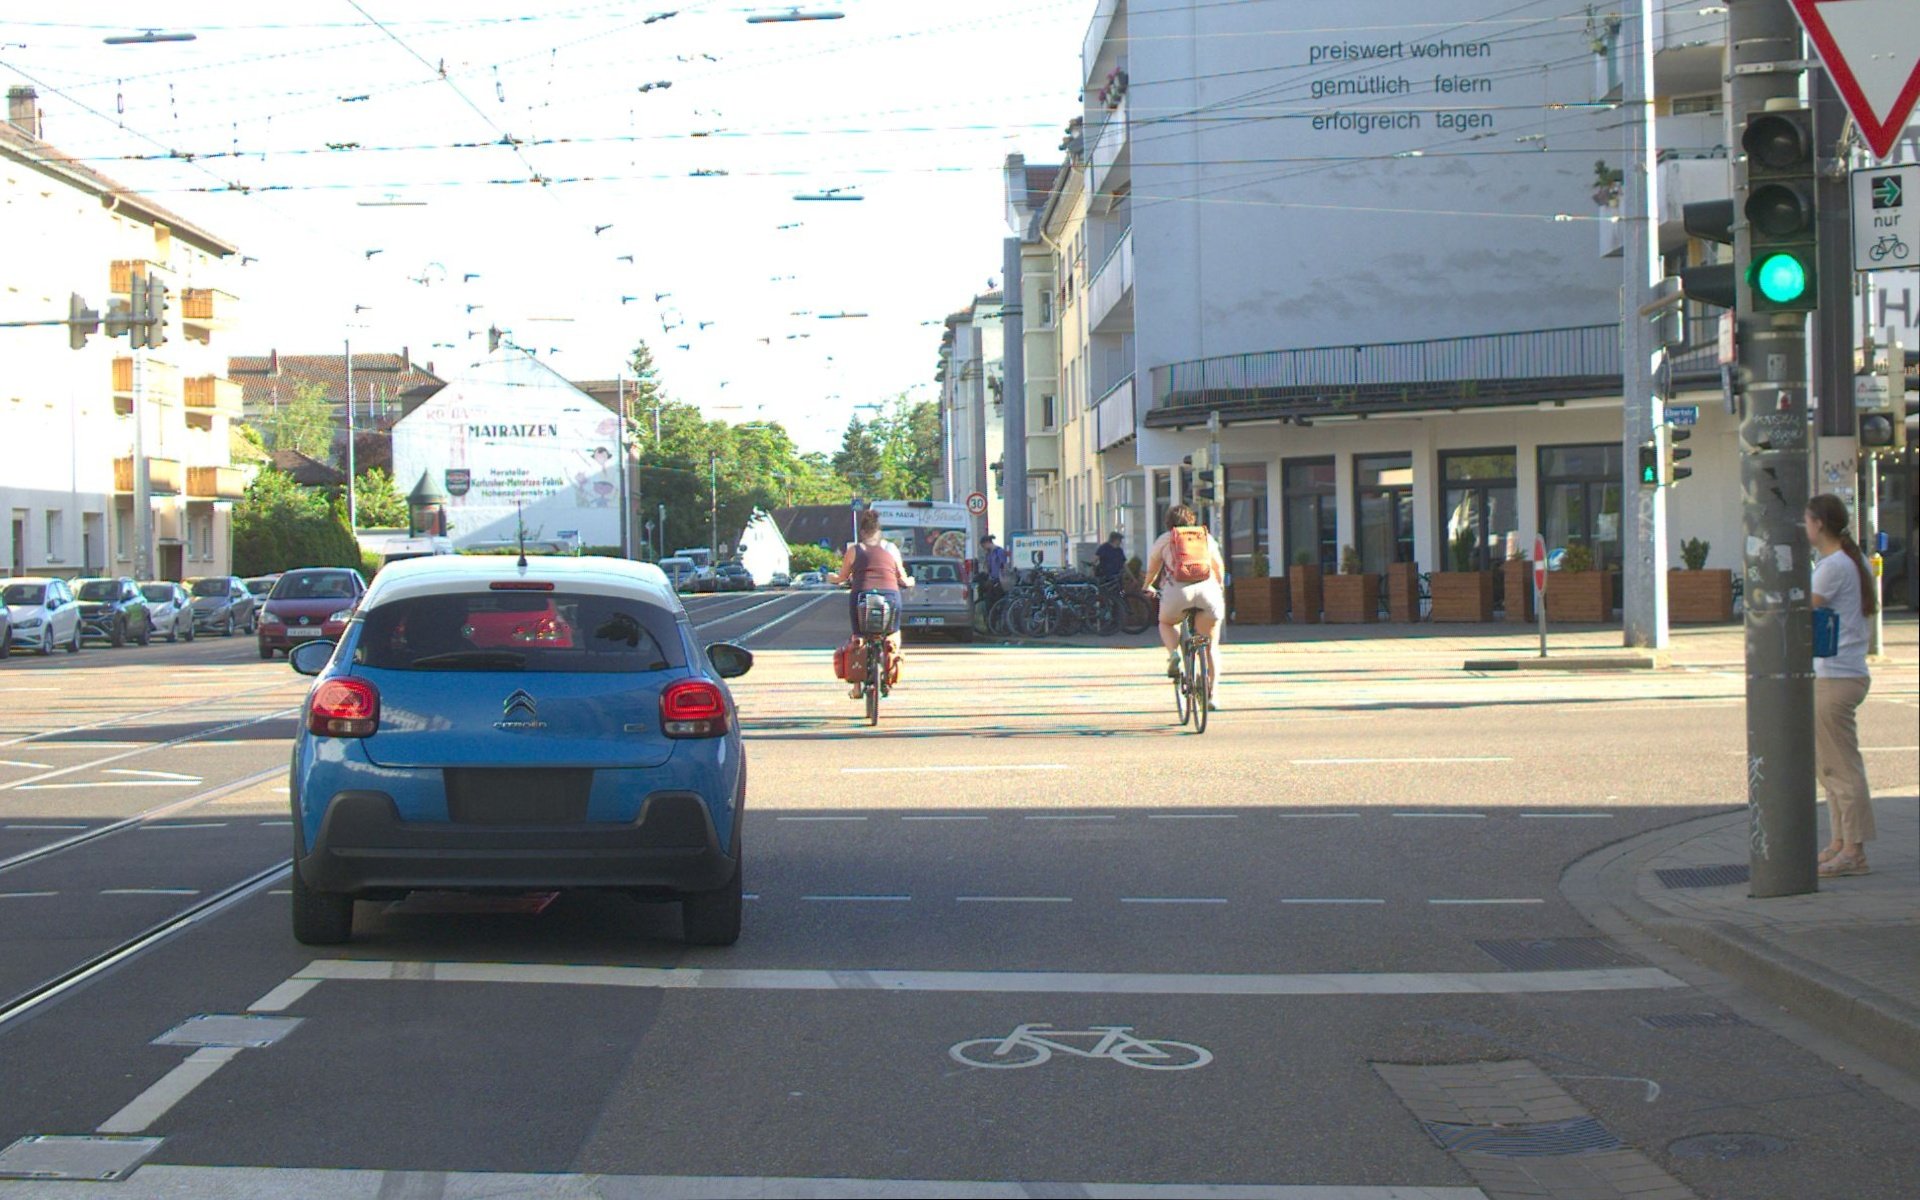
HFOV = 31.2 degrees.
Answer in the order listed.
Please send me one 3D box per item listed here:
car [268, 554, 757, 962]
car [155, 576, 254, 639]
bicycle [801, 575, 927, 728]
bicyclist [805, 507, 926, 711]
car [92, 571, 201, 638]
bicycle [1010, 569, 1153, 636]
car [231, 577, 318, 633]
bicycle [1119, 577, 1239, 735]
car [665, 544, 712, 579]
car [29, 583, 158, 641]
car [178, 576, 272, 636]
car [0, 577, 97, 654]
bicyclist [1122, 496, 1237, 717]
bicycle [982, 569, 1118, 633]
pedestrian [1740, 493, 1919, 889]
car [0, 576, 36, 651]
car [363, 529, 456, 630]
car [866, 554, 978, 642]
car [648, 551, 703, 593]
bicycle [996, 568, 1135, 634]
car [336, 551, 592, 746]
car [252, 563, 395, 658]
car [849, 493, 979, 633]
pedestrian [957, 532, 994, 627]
[{"bbox_3d":[-1.850,0.547,14.133,1.736,1.447,3.663,0,0,-8],"label":"car"},{"bbox_3d":[-19.719,0.185,89.861,1.869,1.571,4.000,1,0,-3],"label":"car"},{"bbox_3d":[-0.784,0.414,28.891,0.940,1.219,2.094,1,0,1],"label":"bicycle"},{"bbox_3d":[-0.782,0.068,28.931,0.940,1.667,1.079,1,0,1],"label":"bicyclist"},{"bbox_3d":[-19.800,0.098,83.798,1.869,1.571,4.000,1,0,-3],"label":"car"},{"bbox_3d":[1.987,0.035,56.437,2.251,0.998,0.856,-2,0,-2],"label":"bicycle"},{"bbox_3d":[-19.815,0.130,99.485,1.869,1.571,4.000,1,0,-3],"label":"car"},{"bbox_3d":[1.741,0.417,27.024,0.811,1.177,2.063,1,0,7],"label":"bicycle"},{"bbox_3d":[-14.119,-1.970,179.111,2.074,1.756,5.037,1,0,-1],"label":"car"},{"bbox_3d":[-19.515,0.249,77.573,1.947,1.235,4.283,1,0,-2],"label":"car"},{"bbox_3d":[-20.107,0.155,94.155,1.869,1.571,4.000,1,0,-3],"label":"car"},{"bbox_3d":[-19.209,0.295,71.065,1.741,1.521,4.230,1,0,-1],"label":"car"},{"bbox_3d":[1.720,0.046,26.816,0.811,1.686,0.935,1,0,7],"label":"bicyclist"},{"bbox_3d":[1.534,0.016,58.933,2.251,0.998,0.856,-2,0,-2],"label":"bicycle"},{"bbox_3d":[3.751,0.381,14.699,0.540,1.618,0.732,-5,-2,24],"label":"pedestrian"},{"bbox_3d":[-19.362,0.250,66.360,1.903,1.432,4.102,1,0,0],"label":"car"},{"bbox_3d":[-17.649,-0.653,110.400,2.418,3.131,3.488,1,0,0],"label":"car"},{"bbox_3d":[-0.678,-0.047,58.550,1.657,1.426,3.889,1,0,-4],"label":"car"},{"bbox_3d":[-13.358,-1.299,161.467,2.218,1.925,4.949,1,0,-1],"label":"car"},{"bbox_3d":[1.763,0.014,57.816,2.251,0.998,0.856,-2,0,-2],"label":"bicycle"},{"bbox_3d":[-4.187,0.367,29.525,1.784,1.516,3.763,1,1,-2],"label":"car"},{"bbox_3d":[-10.498,0.154,56.933,1.778,1.481,3.829,-1,0,-2],"label":"car"},{"bbox_3d":[-0.897,-0.676,63.584,2.265,2.473,5.008,0,0,-2],"label":"car"},{"bbox_3d":[0.273,-0.358,60.359,0.613,1.648,0.671,1,0,1],"label":"pedestrian"}]
